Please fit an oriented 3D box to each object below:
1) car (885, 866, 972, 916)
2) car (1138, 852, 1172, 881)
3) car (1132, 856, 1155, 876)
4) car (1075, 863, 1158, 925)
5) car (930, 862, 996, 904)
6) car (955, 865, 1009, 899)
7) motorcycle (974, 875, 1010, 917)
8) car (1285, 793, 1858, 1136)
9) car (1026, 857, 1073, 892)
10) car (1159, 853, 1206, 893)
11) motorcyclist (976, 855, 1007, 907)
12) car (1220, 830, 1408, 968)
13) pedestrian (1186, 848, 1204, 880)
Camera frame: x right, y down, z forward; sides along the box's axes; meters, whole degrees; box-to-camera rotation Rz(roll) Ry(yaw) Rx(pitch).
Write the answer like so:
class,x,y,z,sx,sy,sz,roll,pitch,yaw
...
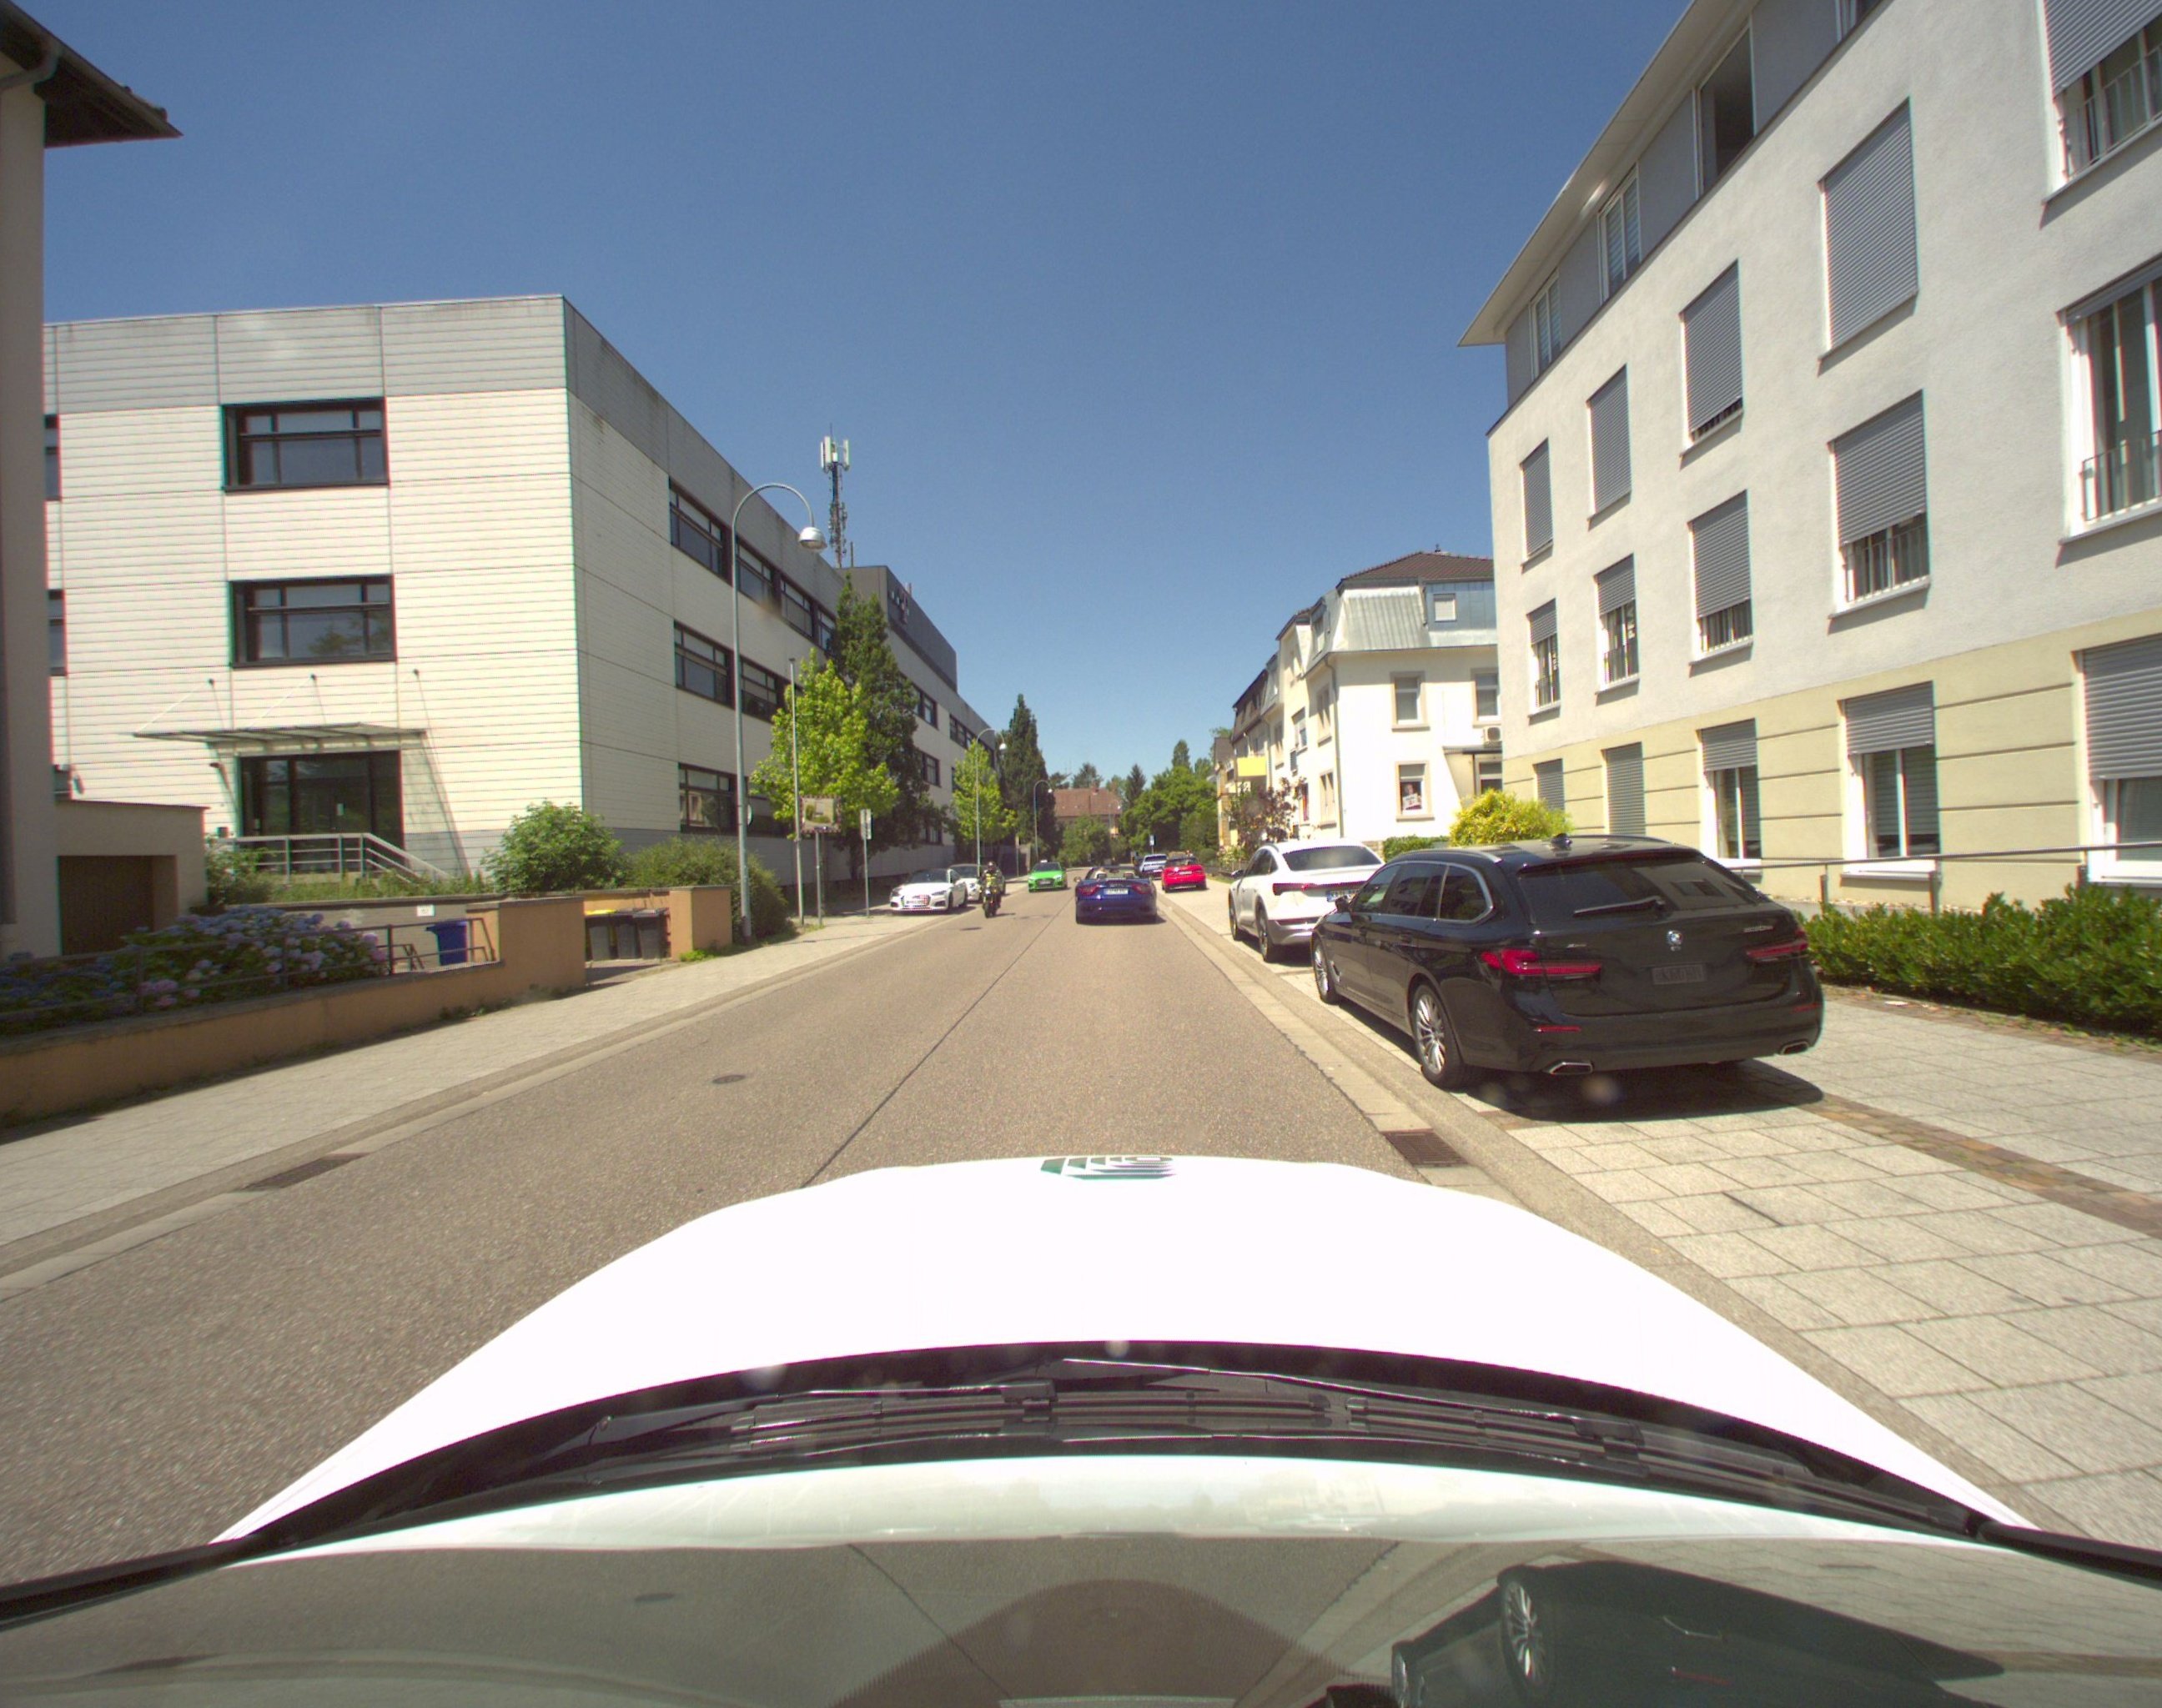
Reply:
class,x,y,z,sx,sy,sz,roll,pitch,yaw
car,-4.895,1.138,26.767,1.815,1.411,4.579,-2,-1,2
car,4.577,0.758,51.084,1.836,1.619,4.430,-4,-1,2
car,4.993,0.946,65.519,1.625,1.446,4.399,-5,0,2
car,0.878,0.921,20.423,1.820,1.337,4.702,-1,-1,2
car,-4.608,1.111,32.496,1.815,1.512,4.291,-2,-1,2
car,-4.460,1.236,37.294,1.741,1.409,3.936,-1,0,3
motorcycle,-2.565,1.200,23.653,0.696,1.107,1.791,-4,-1,2
car,3.050,0.569,6.466,1.698,1.556,4.750,-6,-1,2
car,-1.547,1.006,41.499,1.813,1.588,4.106,-4,-1,5
car,4.193,0.757,34.132,1.597,1.441,3.856,-5,-1,3
motorcyclist,-2.588,0.783,23.530,0.696,1.433,0.707,-4,-1,2
car,3.334,0.581,12.572,1.698,1.666,4.582,-2,0,2
pedestrian,6.285,0.539,44.943,0.738,1.669,0.706,-5,-1,0
